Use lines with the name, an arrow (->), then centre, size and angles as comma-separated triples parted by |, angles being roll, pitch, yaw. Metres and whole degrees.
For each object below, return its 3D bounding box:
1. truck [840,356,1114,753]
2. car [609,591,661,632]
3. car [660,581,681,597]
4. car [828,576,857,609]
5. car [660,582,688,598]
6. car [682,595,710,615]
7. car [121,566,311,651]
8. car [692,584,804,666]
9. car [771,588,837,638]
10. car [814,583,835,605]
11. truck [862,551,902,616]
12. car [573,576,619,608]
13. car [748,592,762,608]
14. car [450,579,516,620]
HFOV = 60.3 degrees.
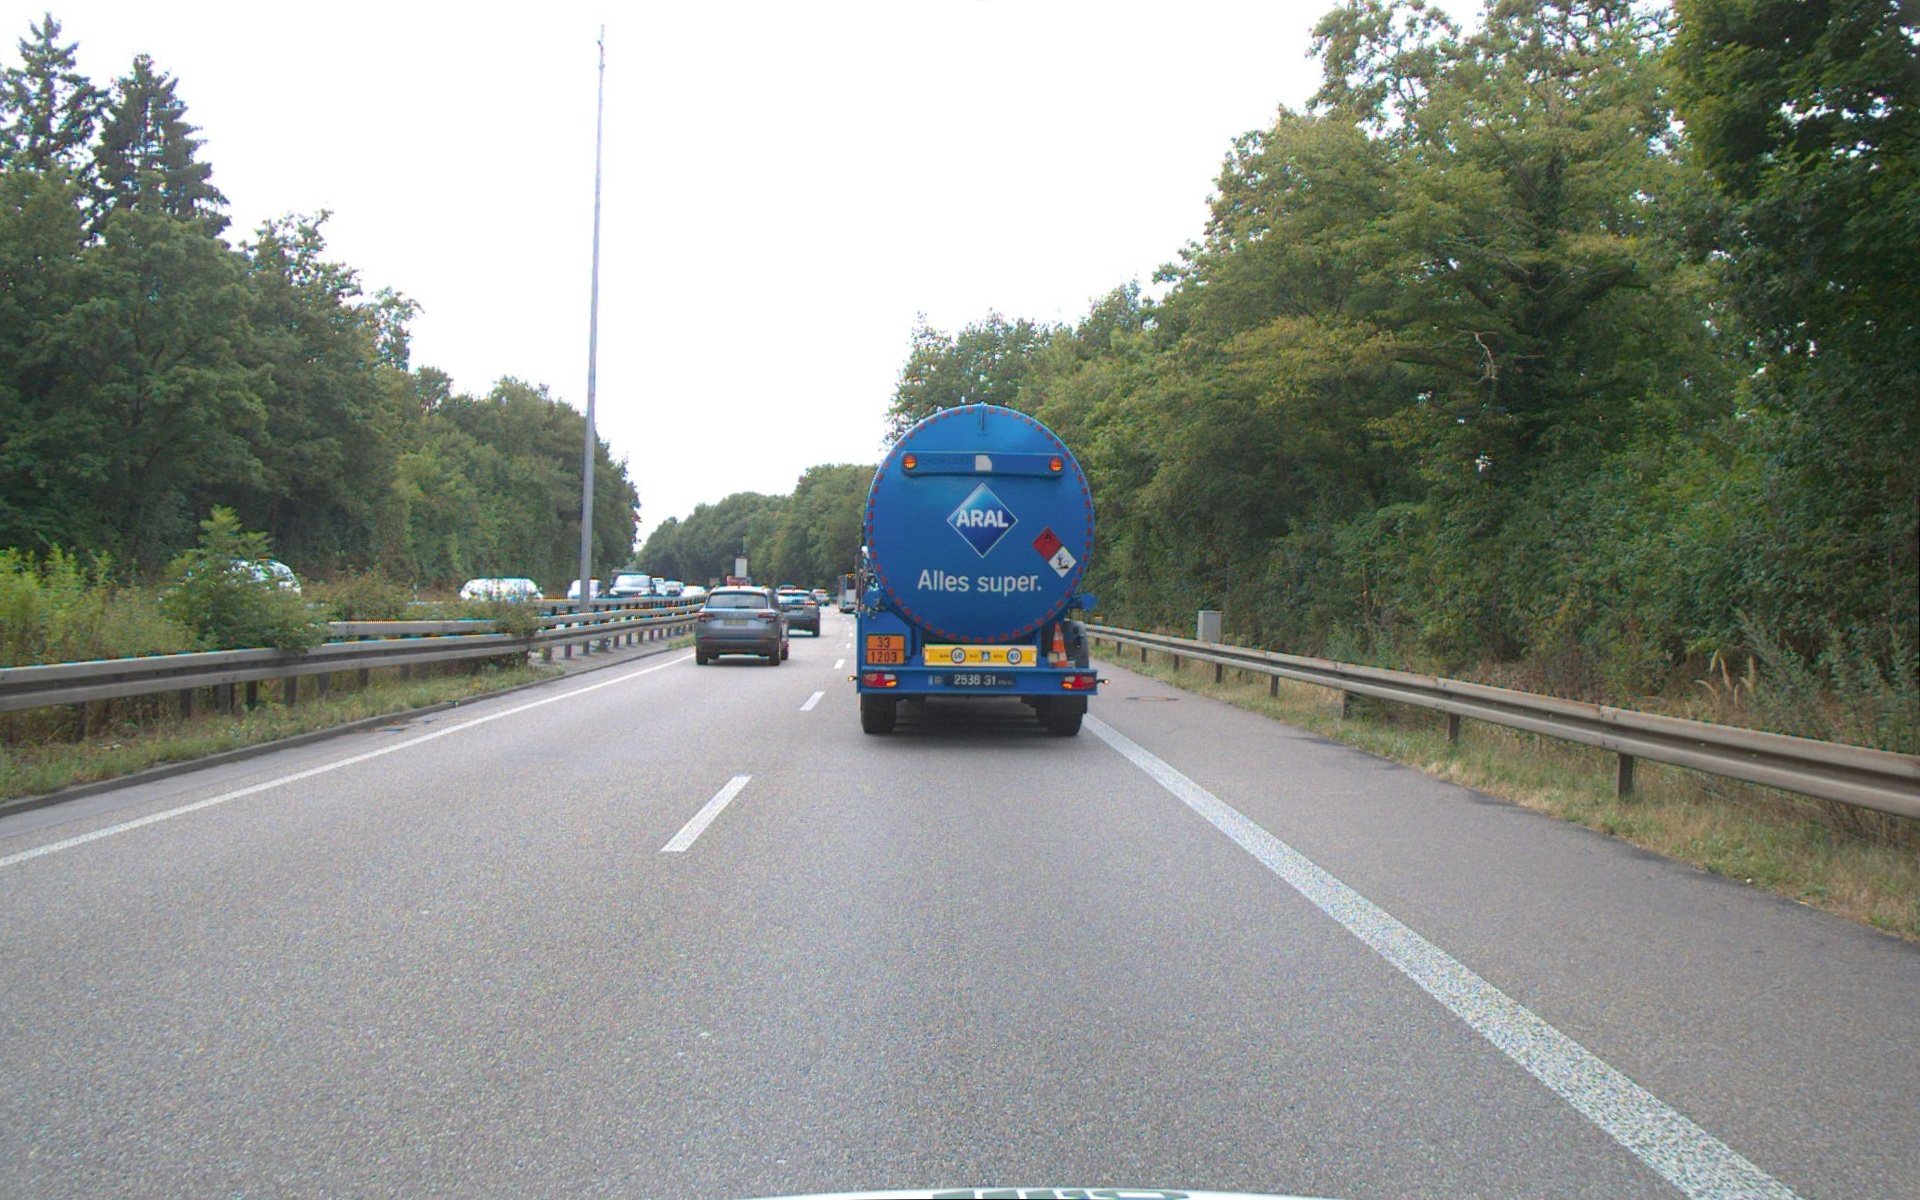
truck -> -0.010, -0.432, 20.233 | 2.700, 3.914, 7.683 | 0, 0, -3
car -> -15.379, 0.537, 78.443 | 1.756, 1.868, 4.953 | 0, 0, -4
car -> -33.283, -1.240, 190.227 | 1.995, 1.835, 5.118 | 0, 0, -5
car -> -8.416, -0.511, 118.000 | 1.955, 2.284, 3.995 | 0, 0, -6
car -> -23.396, -0.802, 135.468 | 1.939, 1.322, 4.064 | 0, 0, -5
car -> -19.855, 0.377, 124.411 | 1.678, 1.452, 4.053 | 0, 0, -4
car -> -15.701, 0.175, 35.201 | 1.953, 1.686, 4.771 | 0, 0, -1
car -> -4.464, 0.518, 35.383 | 1.788, 1.637, 4.167 | 0, 0, 1
car -> -5.283, 0.428, 56.496 | 1.788, 1.637, 4.167 | 0, 0, 1
car -> -14.075, -0.594, 171.548 | 1.955, 2.284, 3.994 | 0, 0, -7
truck -> -3.988, -0.806, 84.622 | 1.954, 3.147, 7.810 | 0, 0, -3
car -> -18.928, -0.410, 86.087 | 1.696, 1.629, 4.128 | 0, 0, -3
car -> -29.422, 0.042, 237.201 | 1.955, 2.284, 3.994 | 0, 0, -6
car -> -18.351, -0.003, 63.781 | 1.596, 1.534, 3.726 | 0, 0, -2
